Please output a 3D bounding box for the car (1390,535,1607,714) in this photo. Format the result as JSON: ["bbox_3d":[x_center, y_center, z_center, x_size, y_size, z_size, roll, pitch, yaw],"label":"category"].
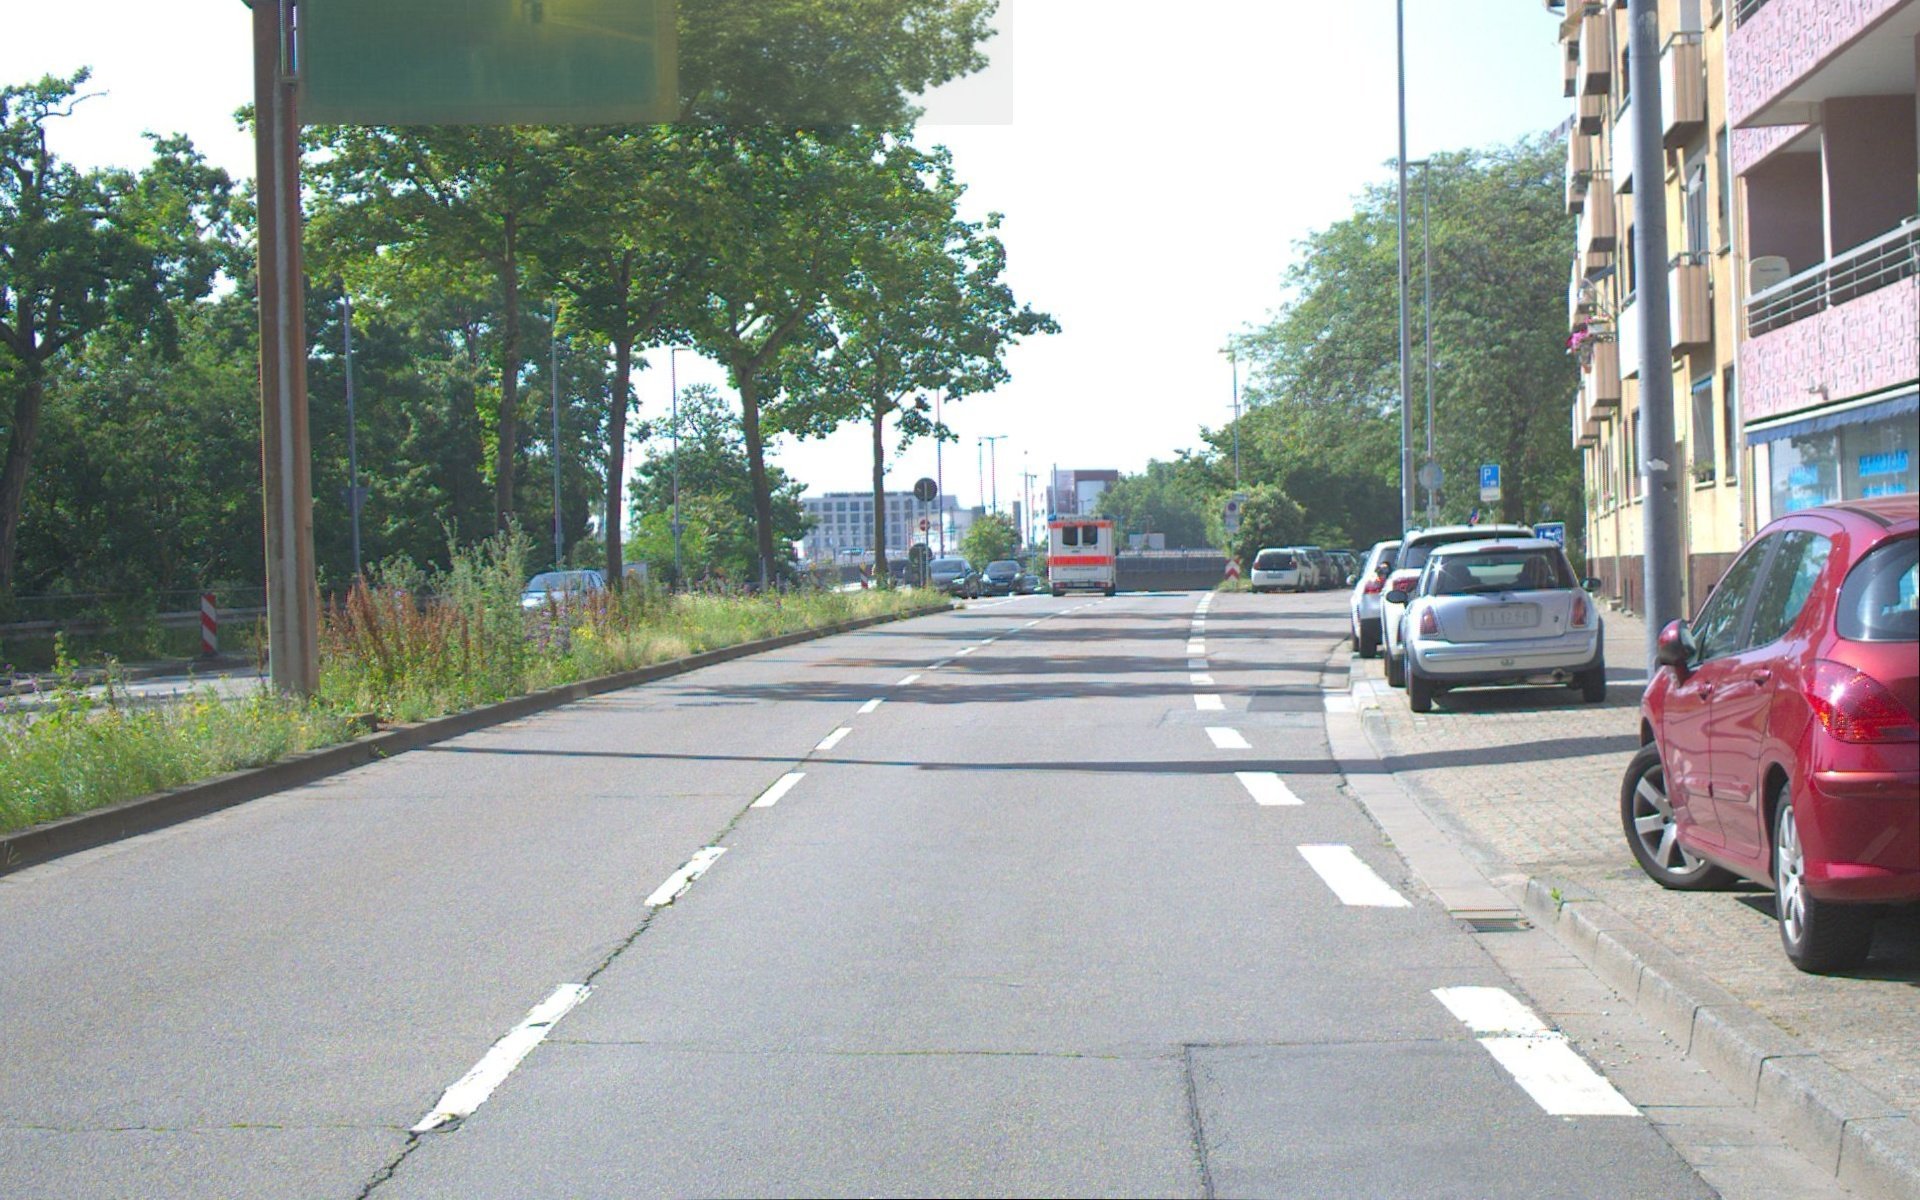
[{"bbox_3d":[4.692,0.173,30.319,1.678,1.404,3.430,-3,1,7],"label":"car"}]

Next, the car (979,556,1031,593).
[{"bbox_3d":[1.918,-1.078,143.887,1.764,1.469,4.084,-2,1,6],"label":"car"}]

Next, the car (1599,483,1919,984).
[{"bbox_3d":[3.495,0.346,12.188,1.785,1.477,4.000,-2,1,2],"label":"car"}]

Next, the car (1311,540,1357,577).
[{"bbox_3d":[16.046,-1.783,147.423,1.664,1.506,3.788,1,1,10],"label":"car"}]

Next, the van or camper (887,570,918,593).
[{"bbox_3d":[-3.461,-1.122,208.332,1.467,1.345,4.630,-1,1,4],"label":"van or camper"}]

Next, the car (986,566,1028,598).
[{"bbox_3d":[2.652,-1.042,193.015,1.994,1.728,4.729,-1,1,4],"label":"car"}]

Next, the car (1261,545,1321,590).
[{"bbox_3d":[11.631,-1.160,120.785,1.722,1.500,4.130,-2,1,10],"label":"car"}]

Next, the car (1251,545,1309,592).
[{"bbox_3d":[10.844,-1.086,116.285,1.620,1.500,3.460,-2,1,10],"label":"car"}]

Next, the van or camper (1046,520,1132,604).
[{"bbox_3d":[4.379,-1.277,116.022,2.297,2.780,5.569,0,0,9],"label":"van or camper"}]

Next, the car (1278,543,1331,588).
[{"bbox_3d":[12.670,-1.288,126.190,1.772,1.574,4.185,-2,1,7],"label":"car"}]

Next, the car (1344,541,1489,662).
[{"bbox_3d":[5.927,-0.003,44.963,1.757,1.501,4.127,0,1,6],"label":"car"}]

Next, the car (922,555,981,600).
[{"bbox_3d":[-0.276,-0.807,120.451,1.798,1.525,4.000,-1,1,4],"label":"car"}]

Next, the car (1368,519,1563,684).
[{"bbox_3d":[5.096,-0.012,35.097,1.736,1.536,4.353,-2,1,6],"label":"car"}]
